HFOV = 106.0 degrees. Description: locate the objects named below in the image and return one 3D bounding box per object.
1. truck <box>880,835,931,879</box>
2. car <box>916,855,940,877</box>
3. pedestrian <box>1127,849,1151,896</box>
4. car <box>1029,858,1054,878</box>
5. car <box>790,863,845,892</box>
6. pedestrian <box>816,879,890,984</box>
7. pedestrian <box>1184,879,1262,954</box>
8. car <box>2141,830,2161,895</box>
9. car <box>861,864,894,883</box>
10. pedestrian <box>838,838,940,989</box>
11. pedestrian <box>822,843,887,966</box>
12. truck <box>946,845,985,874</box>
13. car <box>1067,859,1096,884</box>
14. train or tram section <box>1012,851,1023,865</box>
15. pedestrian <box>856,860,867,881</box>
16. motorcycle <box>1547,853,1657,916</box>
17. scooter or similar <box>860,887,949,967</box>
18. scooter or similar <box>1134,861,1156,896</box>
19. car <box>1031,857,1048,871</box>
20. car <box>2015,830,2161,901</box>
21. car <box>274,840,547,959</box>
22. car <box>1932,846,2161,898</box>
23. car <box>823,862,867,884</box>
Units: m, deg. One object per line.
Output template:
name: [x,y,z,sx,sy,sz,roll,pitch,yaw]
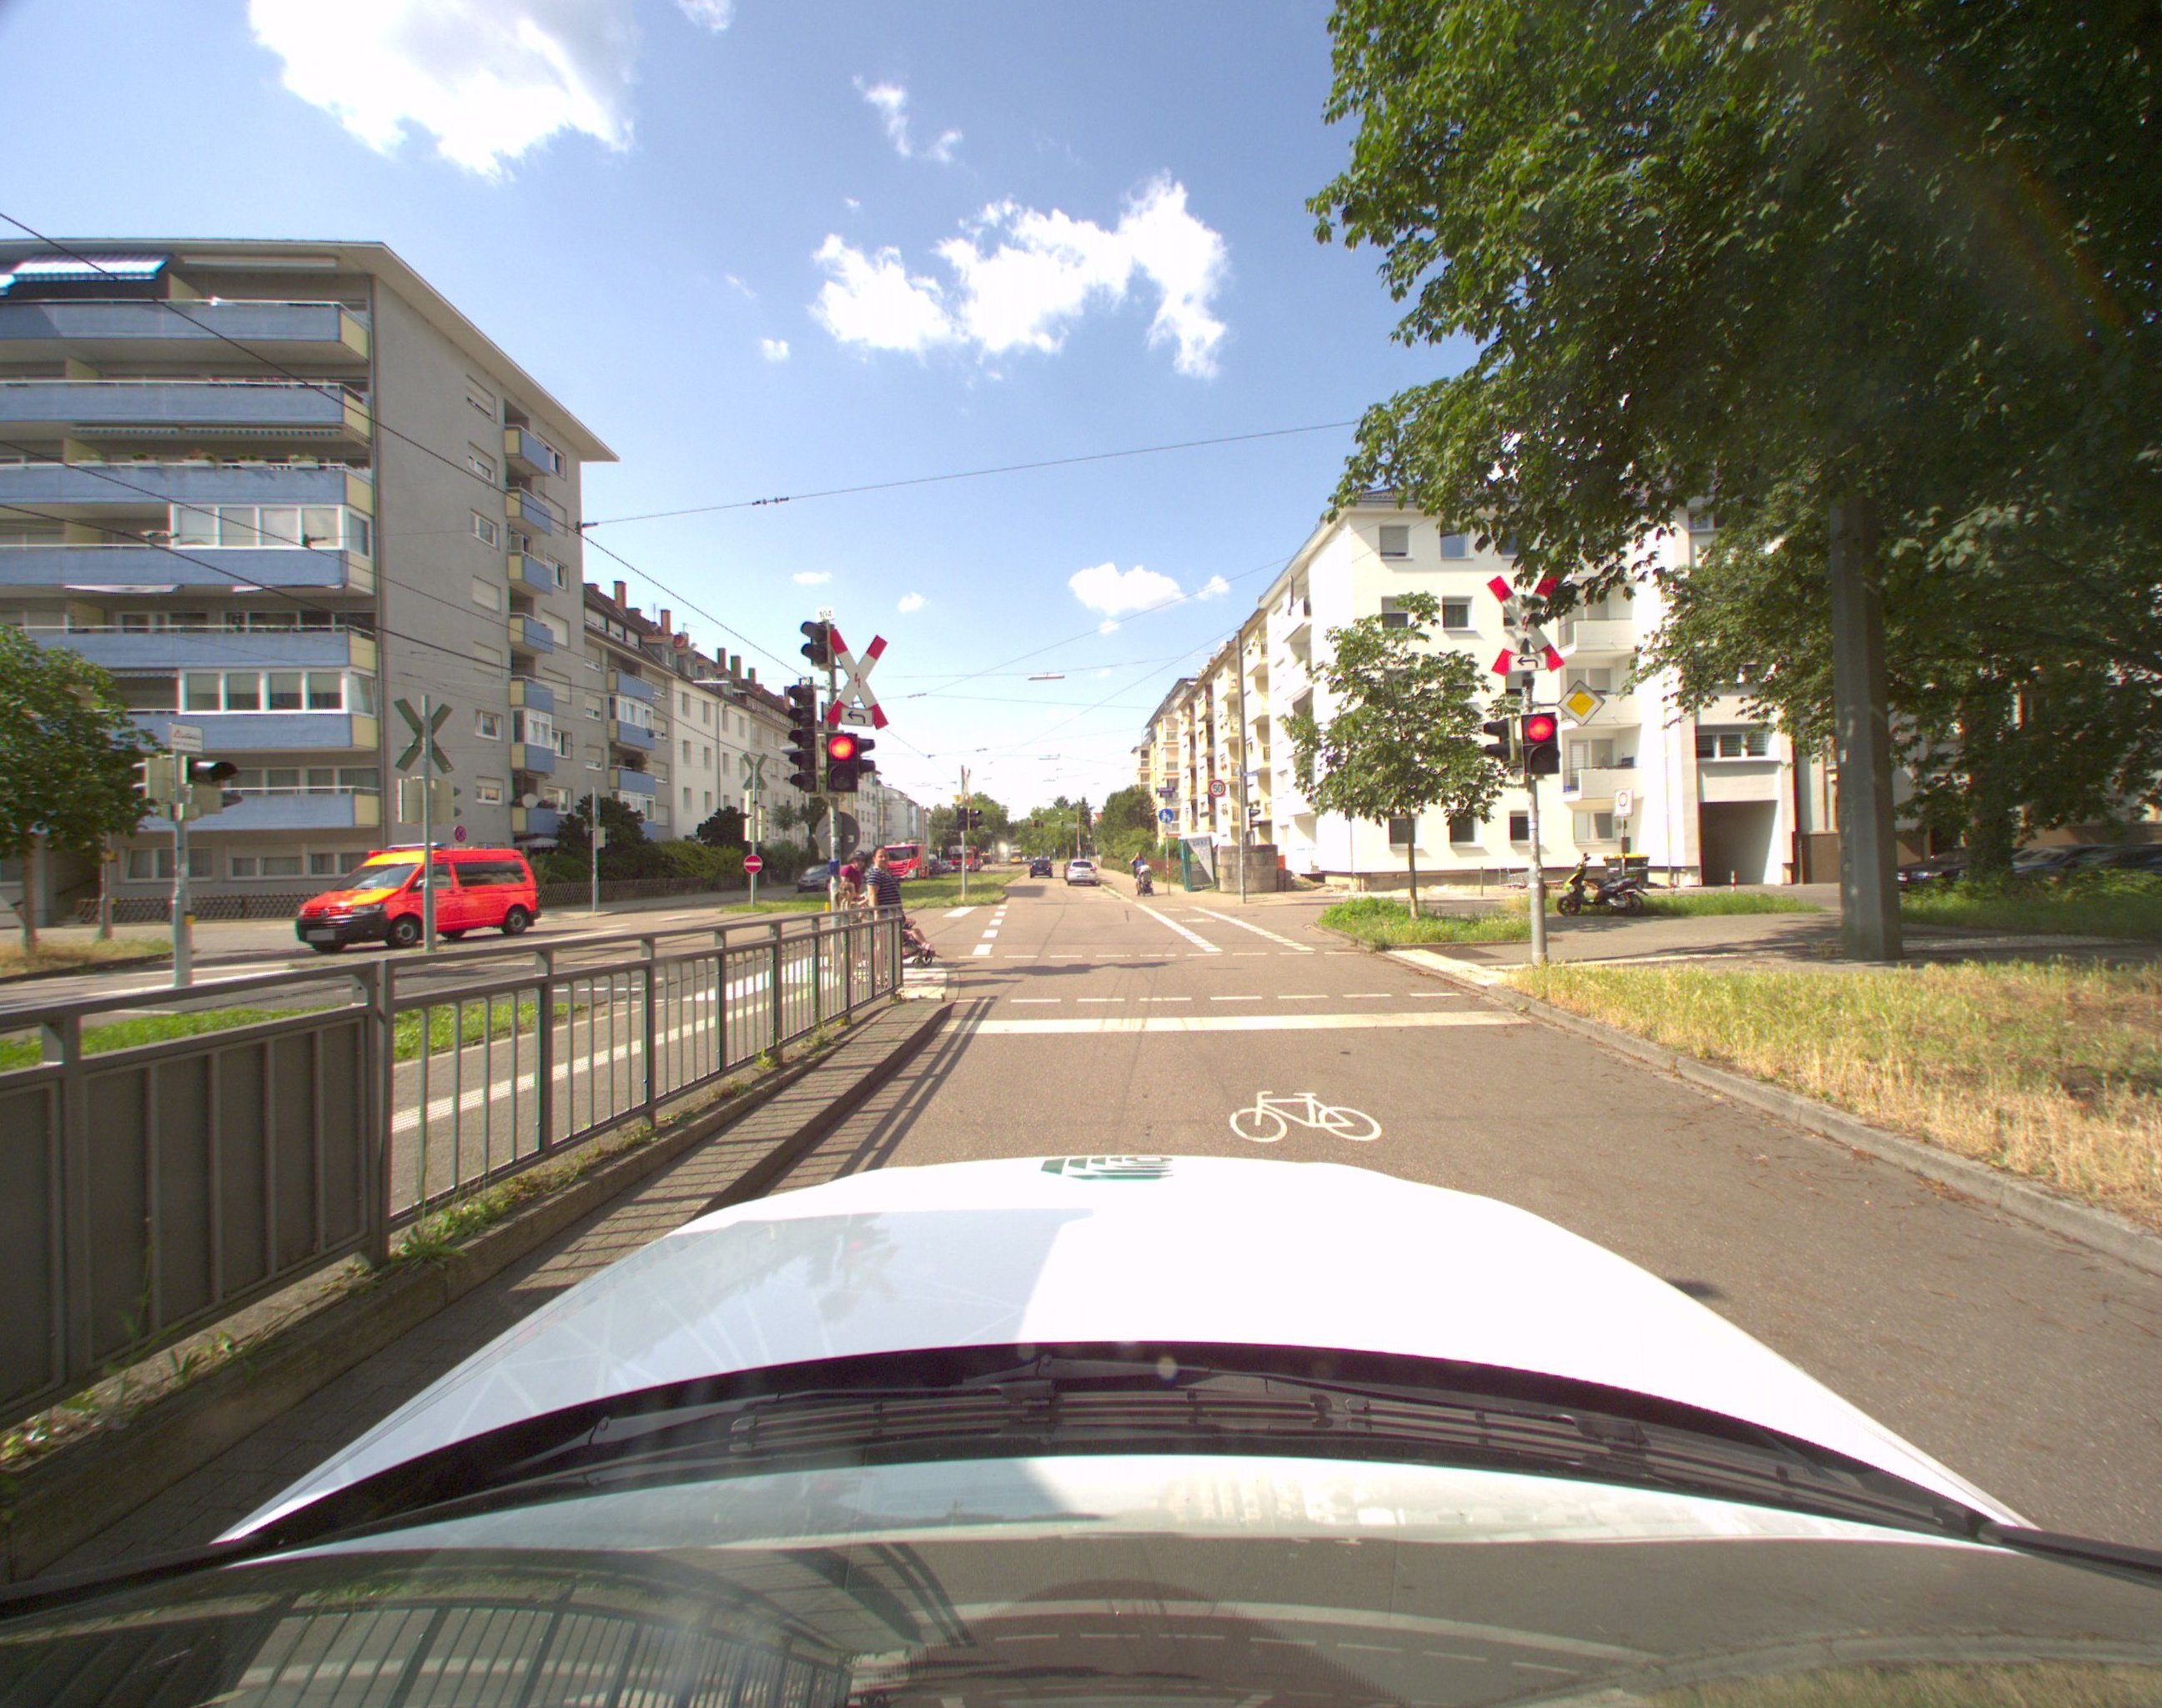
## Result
truck: [-13.511,0.274,63.198,2.591,3.186,8.371,0,-1,-3]
car: [-17.302,1.324,92.279,1.963,2.370,5.197,0,-1,-2]
pedestrian: [2.328,0.740,32.702,0.699,1.789,1.029,-4,0,-3]
car: [-3.083,1.061,63.931,1.738,1.507,3.999,0,-1,0]
car: [-15.778,1.387,48.983,1.987,1.645,3.999,0,-1,0]
pedestrian: [-2.774,0.907,9.887,0.641,1.180,0.790,-1,-1,-33]
pedestrian: [4.252,1.824,25.014,1.984,2.014,4.004,0,-1,4]
car: [26.029,0.181,17.461,1.794,1.539,4.013,-2,0,11]
car: [-16.190,1.561,64.980,1.763,1.442,3.997,0,-1,-2]
pedestrian: [-2.259,0.662,9.591,0.853,1.667,0.789,-1,-1,-43]
pedestrian: [-3.132,0.688,11.306,0.704,1.648,0.636,1,-1,-3]
truck: [-14.357,0.679,102.059,2.654,3.471,10.180,0,-1,5]
car: [0.019,1.027,48.415,1.617,1.465,3.509,0,-1,-1]
train or tram section: [-14.823,0.923,190.871,2.254,3.069,8.122,-2,0,-4]
pedestrian: [-19.170,1.454,71.070,0.704,1.794,0.863,-2,0,-5]
motorcycle: [11.040,0.650,17.332,0.574,1.215,1.829,-6,1,-30]
scooter or similar: [-2.444,1.002,11.347,1.097,1.056,0.650,0,-1,-2]
scooter or similar: [2.499,0.949,31.802,0.660,1.303,0.868,-5,0,-3]
car: [-4.715,1.138,92.775,1.739,1.507,3.997,0,-1,-1]
car: [23.223,0.217,17.506,1.733,1.459,4.001,-2,0,1]
car: [-15.021,0.919,18.728,1.985,2.275,4.838,-3,0,3]
car: [27.237,0.487,23.082,4.145,1.413,1.783,0,-1,6]
car: [-15.901,1.282,55.005,1.762,1.442,3.999,0,-1,0]
